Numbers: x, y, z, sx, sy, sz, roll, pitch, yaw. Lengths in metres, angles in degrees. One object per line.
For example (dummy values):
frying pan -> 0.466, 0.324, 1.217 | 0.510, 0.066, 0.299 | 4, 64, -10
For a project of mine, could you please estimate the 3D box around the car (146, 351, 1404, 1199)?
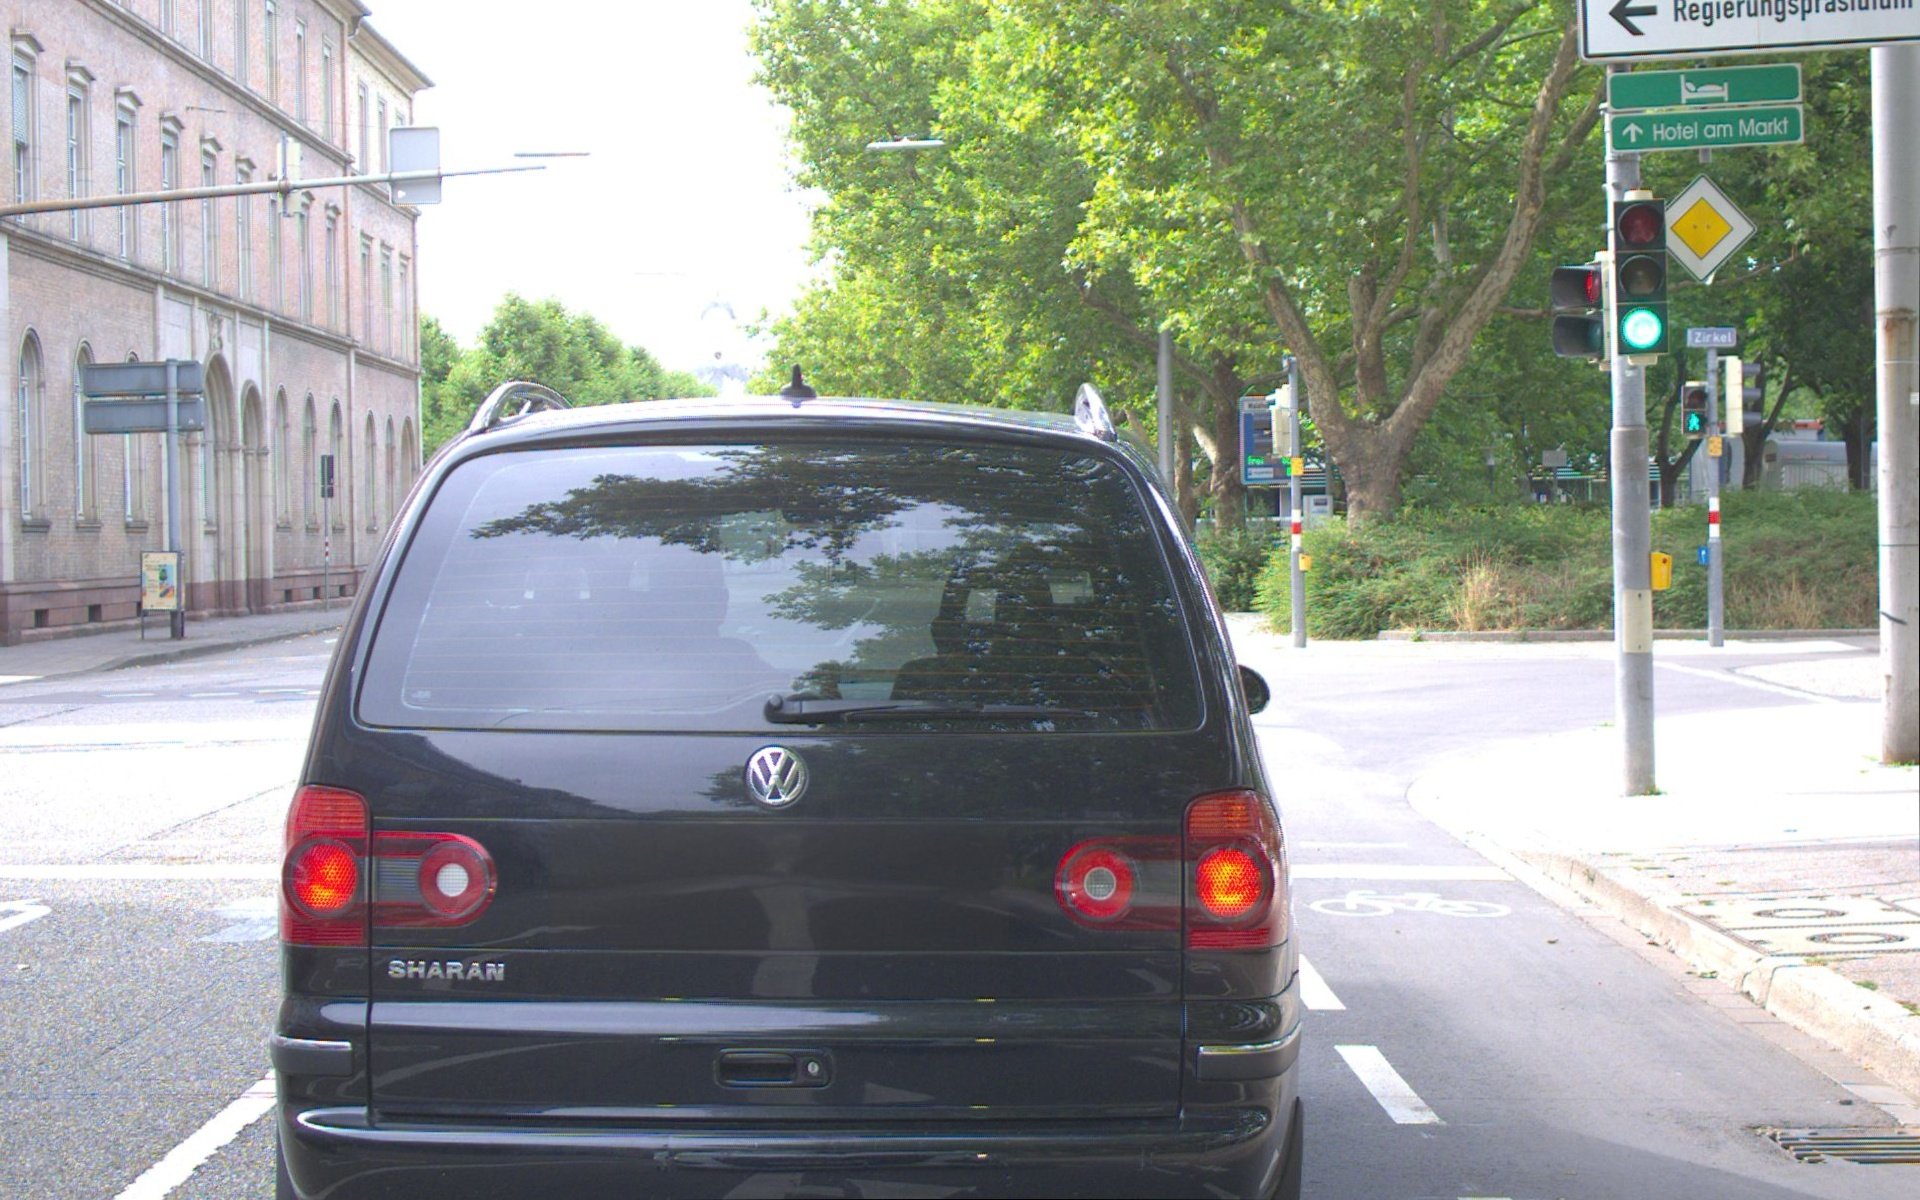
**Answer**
car -> -0.270, 0.450, 7.455 | 1.874, 1.739, 4.574 | -1, 1, 0
